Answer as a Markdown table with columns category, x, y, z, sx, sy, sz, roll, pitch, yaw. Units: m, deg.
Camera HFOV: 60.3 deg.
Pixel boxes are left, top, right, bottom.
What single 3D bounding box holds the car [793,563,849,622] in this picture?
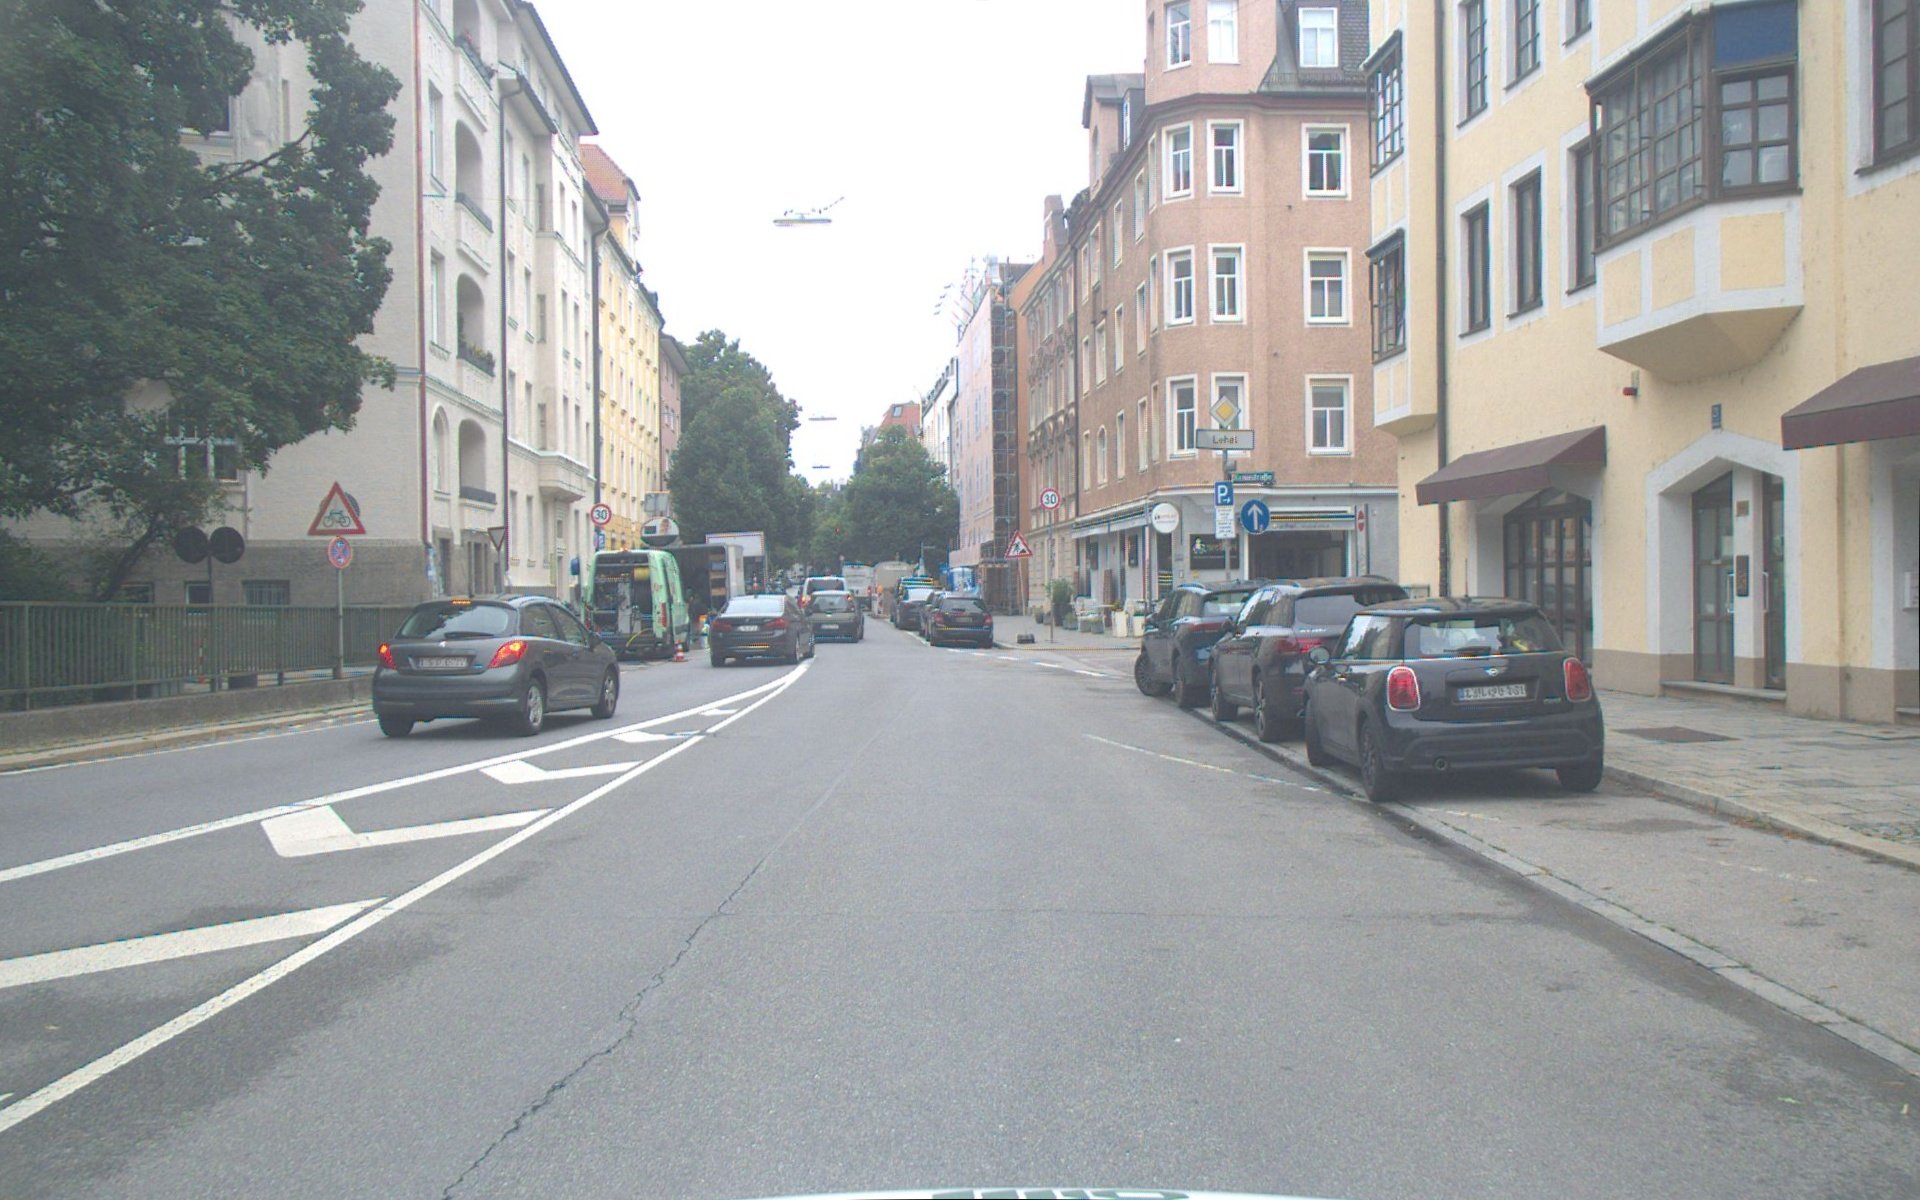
| category | x | y | z | sx | sy | sz | roll | pitch | yaw |
| --- | --- | --- | --- | --- | --- | --- | --- | --- | --- |
| car | -5.188 | -0.327 | 62.130 | 1.951 | 2.111 | 4.138 | -1 | 2 | -4 |

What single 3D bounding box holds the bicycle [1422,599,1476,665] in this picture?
| category | x | y | z | sx | sy | sz | roll | pitch | yaw |
| --- | --- | --- | --- | --- | --- | --- | --- | --- | --- |
| bicycle | 7.741 | 0.488 | 26.238 | 0.265 | 0.994 | 1.683 | 0 | 1 | -4 |

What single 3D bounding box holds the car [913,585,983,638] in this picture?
| category | x | y | z | sx | sy | sz | roll | pitch | yaw |
| --- | --- | --- | --- | --- | --- | --- | --- | --- | --- |
| car | -0.429 | 0.334 | 52.581 | 1.808 | 1.454 | 4.136 | 2 | 1 | -6 |

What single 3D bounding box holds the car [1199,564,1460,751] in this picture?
| category | x | y | z | sx | sy | sz | roll | pitch | yaw |
| --- | --- | --- | --- | --- | --- | --- | --- | --- | --- |
| car | 3.866 | 0.524 | 18.130 | 1.721 | 1.708 | 4.706 | -2 | 1 | 0 |

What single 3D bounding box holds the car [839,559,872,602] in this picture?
| category | x | y | z | sx | sy | sz | roll | pitch | yaw |
| --- | --- | --- | --- | --- | --- | --- | --- | --- | --- |
| car | -6.332 | -1.193 | 100.746 | 1.901 | 2.523 | 4.780 | 0 | 1 | -3 |

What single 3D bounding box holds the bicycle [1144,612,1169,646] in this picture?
| category | x | y | z | sx | sy | sz | roll | pitch | yaw |
| --- | --- | --- | --- | --- | --- | --- | --- | --- | --- |
| bicycle | 5.019 | 0.735 | 42.321 | 0.447 | 0.819 | 1.326 | 0 | 1 | -2 |

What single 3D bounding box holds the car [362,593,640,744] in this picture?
| category | x | y | z | sx | sy | sz | roll | pitch | yaw |
| --- | --- | --- | --- | --- | --- | --- | --- | --- | --- |
| car | -5.068 | 0.691 | 18.845 | 1.721 | 1.486 | 4.077 | -1 | 1 | 5 |

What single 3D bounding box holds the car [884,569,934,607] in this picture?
| category | x | y | z | sx | sy | sz | roll | pitch | yaw |
| --- | --- | --- | --- | --- | --- | --- | --- | --- | --- |
| car | -2.174 | -0.529 | 69.082 | 1.951 | 1.454 | 4.138 | -1 | 2 | -4 |

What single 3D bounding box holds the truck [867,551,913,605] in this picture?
| category | x | y | z | sx | sy | sz | roll | pitch | yaw |
| --- | --- | --- | --- | --- | --- | --- | --- | --- | --- |
| truck | -4.046 | -1.276 | 95.019 | 2.443 | 3.025 | 5.322 | 0 | 1 | -5 |

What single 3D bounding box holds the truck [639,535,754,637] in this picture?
| category | x | y | z | sx | sy | sz | roll | pitch | yaw |
| --- | --- | --- | --- | --- | --- | --- | --- | --- | --- |
| truck | -8.098 | -0.513 | 51.672 | 2.718 | 2.923 | 7.198 | -1 | 2 | -3 |

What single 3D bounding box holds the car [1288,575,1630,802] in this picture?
| category | x | y | z | sx | sy | sz | roll | pitch | yaw |
| --- | --- | --- | --- | --- | --- | --- | --- | --- | --- |
| car | 3.867 | 0.598 | 13.472 | 1.720 | 1.522 | 3.824 | -2 | 1 | 2 |

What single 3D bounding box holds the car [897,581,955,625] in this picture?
| category | x | y | z | sx | sy | sz | roll | pitch | yaw |
| --- | --- | --- | --- | --- | --- | --- | --- | --- | --- |
| car | -1.289 | 0.084 | 61.204 | 1.808 | 1.454 | 4.302 | 2 | 1 | -6 |

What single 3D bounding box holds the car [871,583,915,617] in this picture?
| category | x | y | z | sx | sy | sz | roll | pitch | yaw |
| --- | --- | --- | --- | --- | --- | --- | --- | --- | --- |
| car | -3.217 | -0.030 | 78.703 | 1.951 | 1.454 | 4.138 | -1 | 2 | -4 |

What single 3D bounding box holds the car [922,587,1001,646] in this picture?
| category | x | y | z | sx | sy | sz | roll | pitch | yaw |
| --- | --- | --- | --- | --- | --- | --- | --- | --- | --- |
| car | -0.001 | 0.438 | 46.631 | 1.808 | 1.454 | 4.179 | 2 | 1 | -6 |

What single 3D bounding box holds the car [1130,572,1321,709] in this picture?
| category | x | y | z | sx | sy | sz | roll | pitch | yaw |
| --- | --- | --- | --- | --- | --- | --- | --- | --- | --- |
| car | 3.696 | 0.508 | 23.809 | 1.782 | 1.708 | 4.508 | -2 | 1 | -3 |

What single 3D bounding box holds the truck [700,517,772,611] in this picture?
| category | x | y | z | sx | sy | sz | roll | pitch | yaw |
| --- | --- | --- | --- | --- | --- | --- | --- | --- | --- |
| truck | -10.019 | -1.591 | 74.650 | 2.954 | 4.020 | 6.987 | 0 | 1 | -6 |

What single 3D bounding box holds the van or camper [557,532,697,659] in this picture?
| category | x | y | z | sx | sy | sz | roll | pitch | yaw |
| --- | --- | --- | --- | --- | --- | --- | --- | --- | --- |
| van or camper | -8.178 | -0.196 | 41.251 | 2.549 | 2.889 | 6.182 | -1 | 2 | -4 |

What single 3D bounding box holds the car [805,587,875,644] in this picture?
| category | x | y | z | sx | sy | sz | roll | pitch | yaw |
| --- | --- | --- | --- | --- | --- | --- | --- | --- | --- |
| car | -3.483 | 0.417 | 48.326 | 1.951 | 1.454 | 4.138 | -1 | 2 | -4 |

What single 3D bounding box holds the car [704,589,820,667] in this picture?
| category | x | y | z | sx | sy | sz | roll | pitch | yaw |
| --- | --- | --- | --- | --- | --- | --- | --- | --- | --- |
| car | -4.236 | 0.547 | 36.077 | 1.949 | 1.454 | 4.906 | -1 | 2 | -1 |
